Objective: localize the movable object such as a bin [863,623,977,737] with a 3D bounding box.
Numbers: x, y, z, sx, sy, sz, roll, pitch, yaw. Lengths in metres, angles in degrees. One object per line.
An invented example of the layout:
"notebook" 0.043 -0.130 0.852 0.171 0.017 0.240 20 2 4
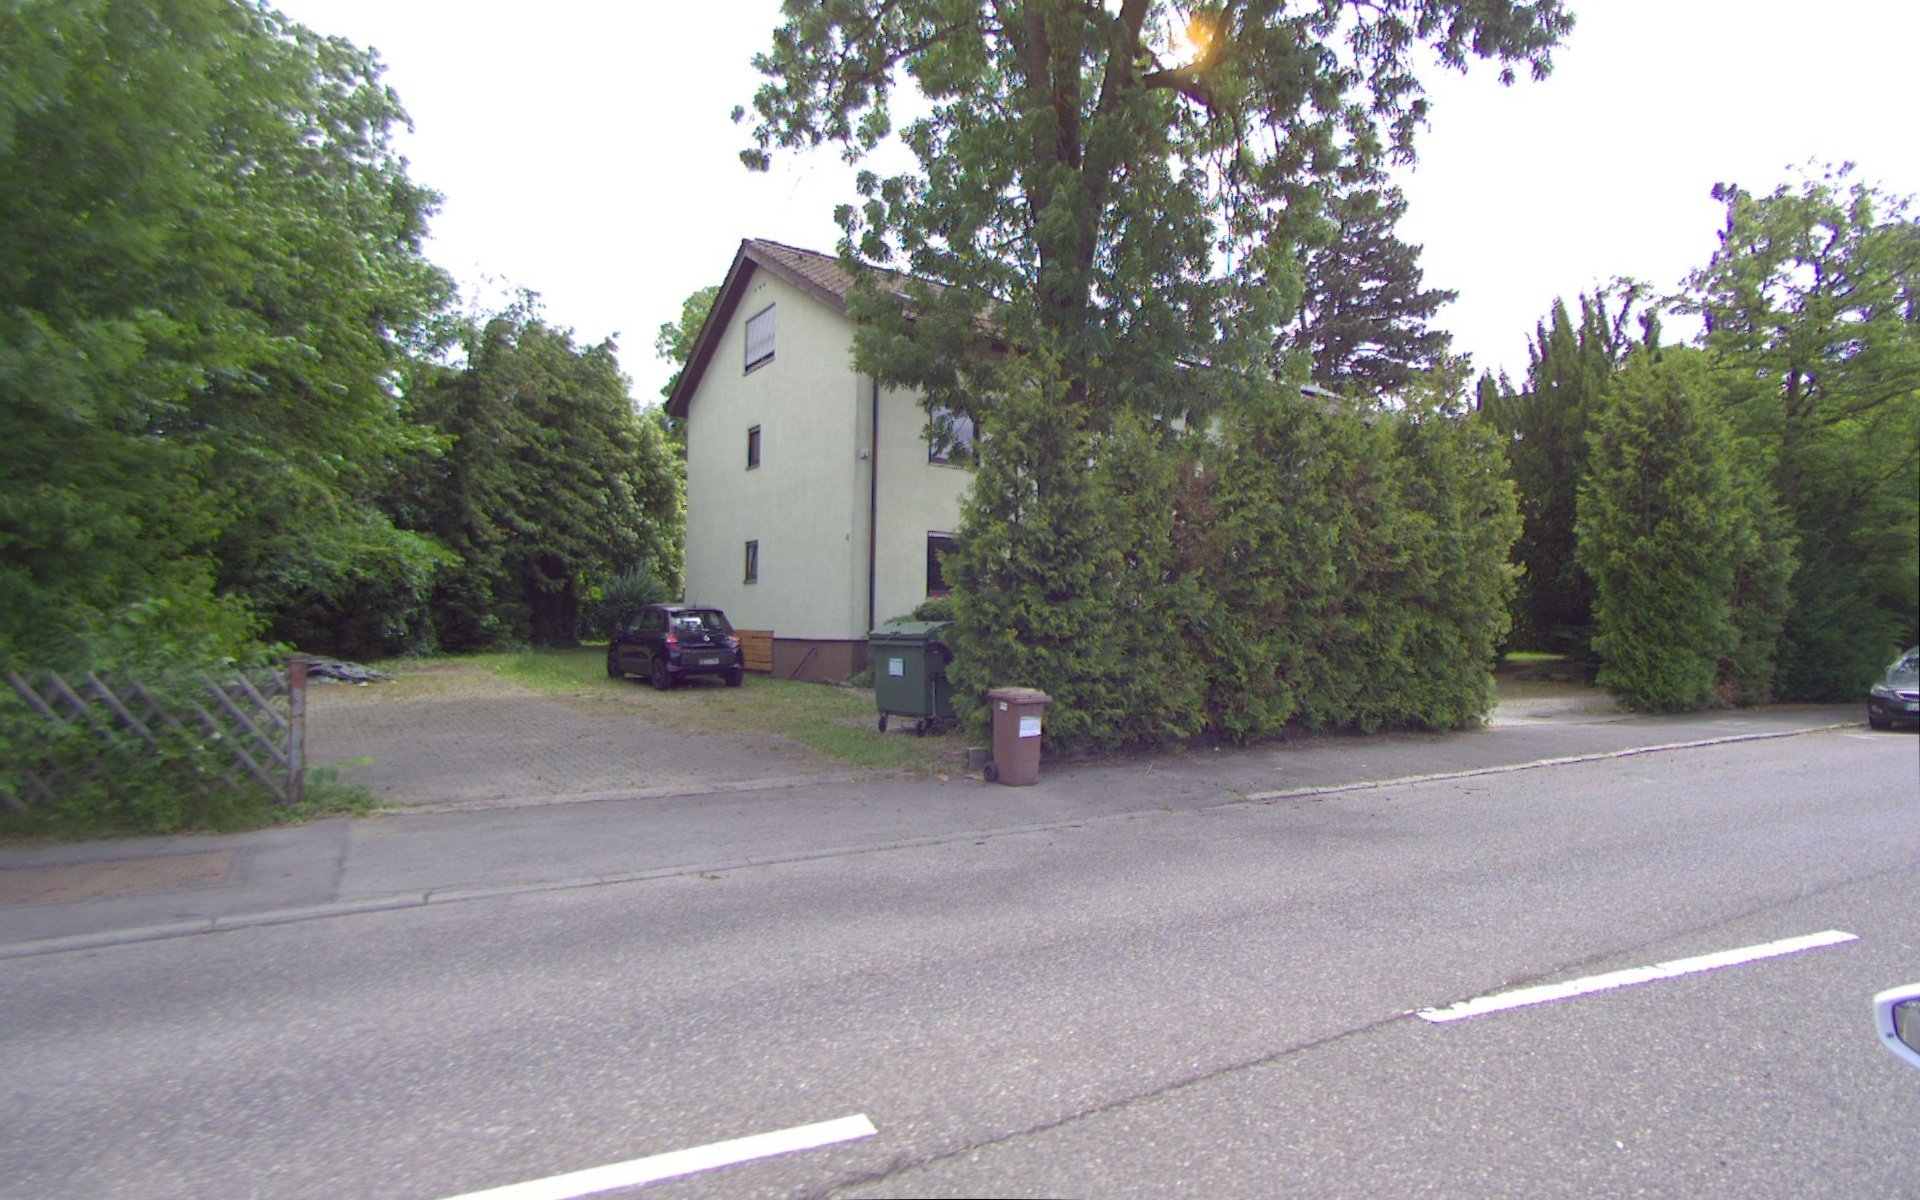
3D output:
"movable object such as a bin" -0.536 1.023 13.306 1.260 1.419 0.893 0 -2 45

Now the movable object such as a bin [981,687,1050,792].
"movable object such as a bin" 0.550 1.368 9.954 0.427 0.942 0.458 2 2 -45

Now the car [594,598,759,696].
"car" -5.662 0.834 19.772 1.867 1.706 3.839 1 0 -37

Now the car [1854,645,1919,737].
"car" 17.867 1.573 18.010 4.432 1.524 1.726 2 -3 -35
